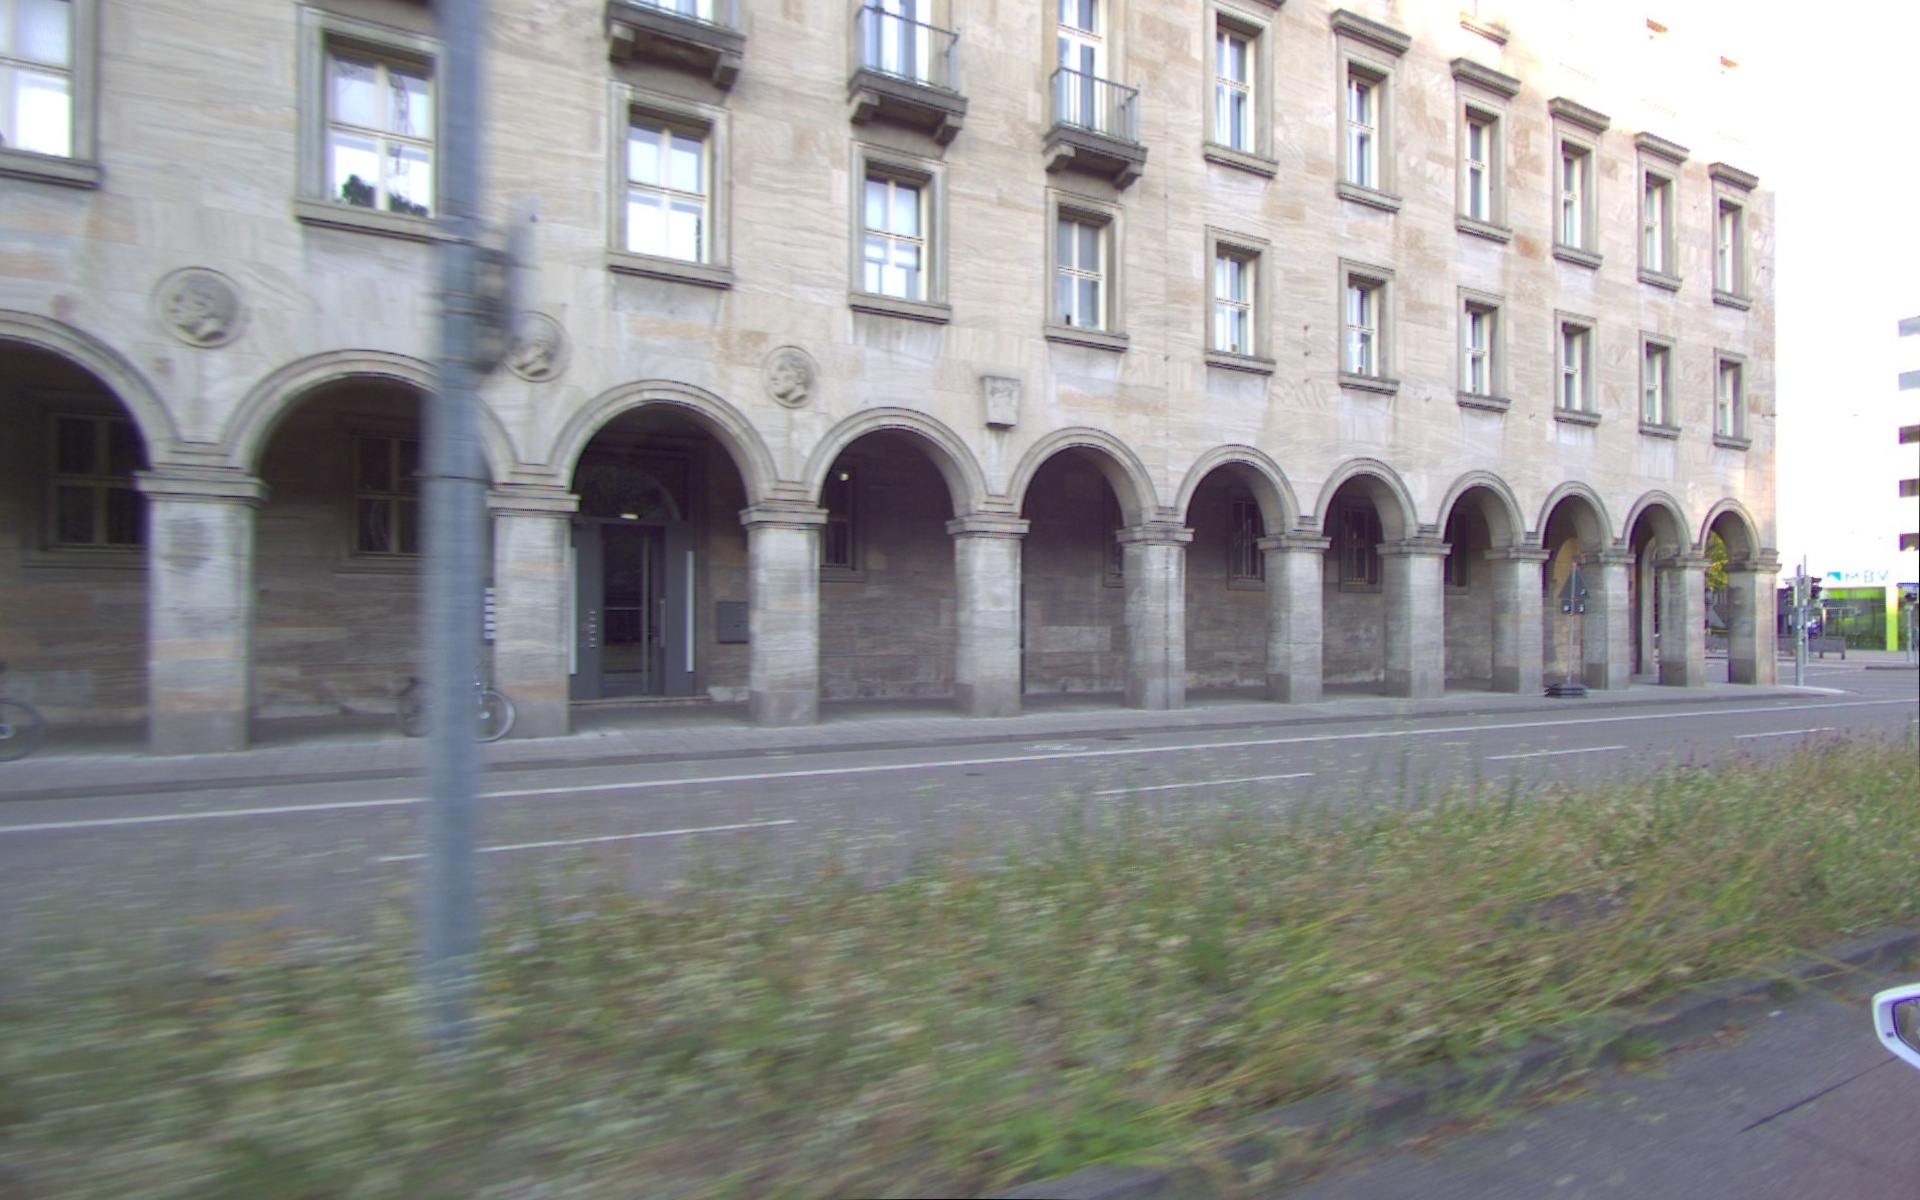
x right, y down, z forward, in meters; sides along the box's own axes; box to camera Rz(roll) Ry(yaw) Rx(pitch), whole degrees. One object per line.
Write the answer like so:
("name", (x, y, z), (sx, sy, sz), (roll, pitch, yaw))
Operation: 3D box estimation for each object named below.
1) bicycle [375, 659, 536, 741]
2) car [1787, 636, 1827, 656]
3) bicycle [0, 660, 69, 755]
("bicycle", (-6.648, 1.303, 13.249), (1.964, 1.019, 0.479), (0, -1, 9))
("car", (47.251, 2.558, 56.053), (2.490, 1.088, 0.850), (1, -2, -29))
("bicycle", (-11.127, 1.185, 11.086), (1.968, 1.019, 0.478), (0, -1, -9))
